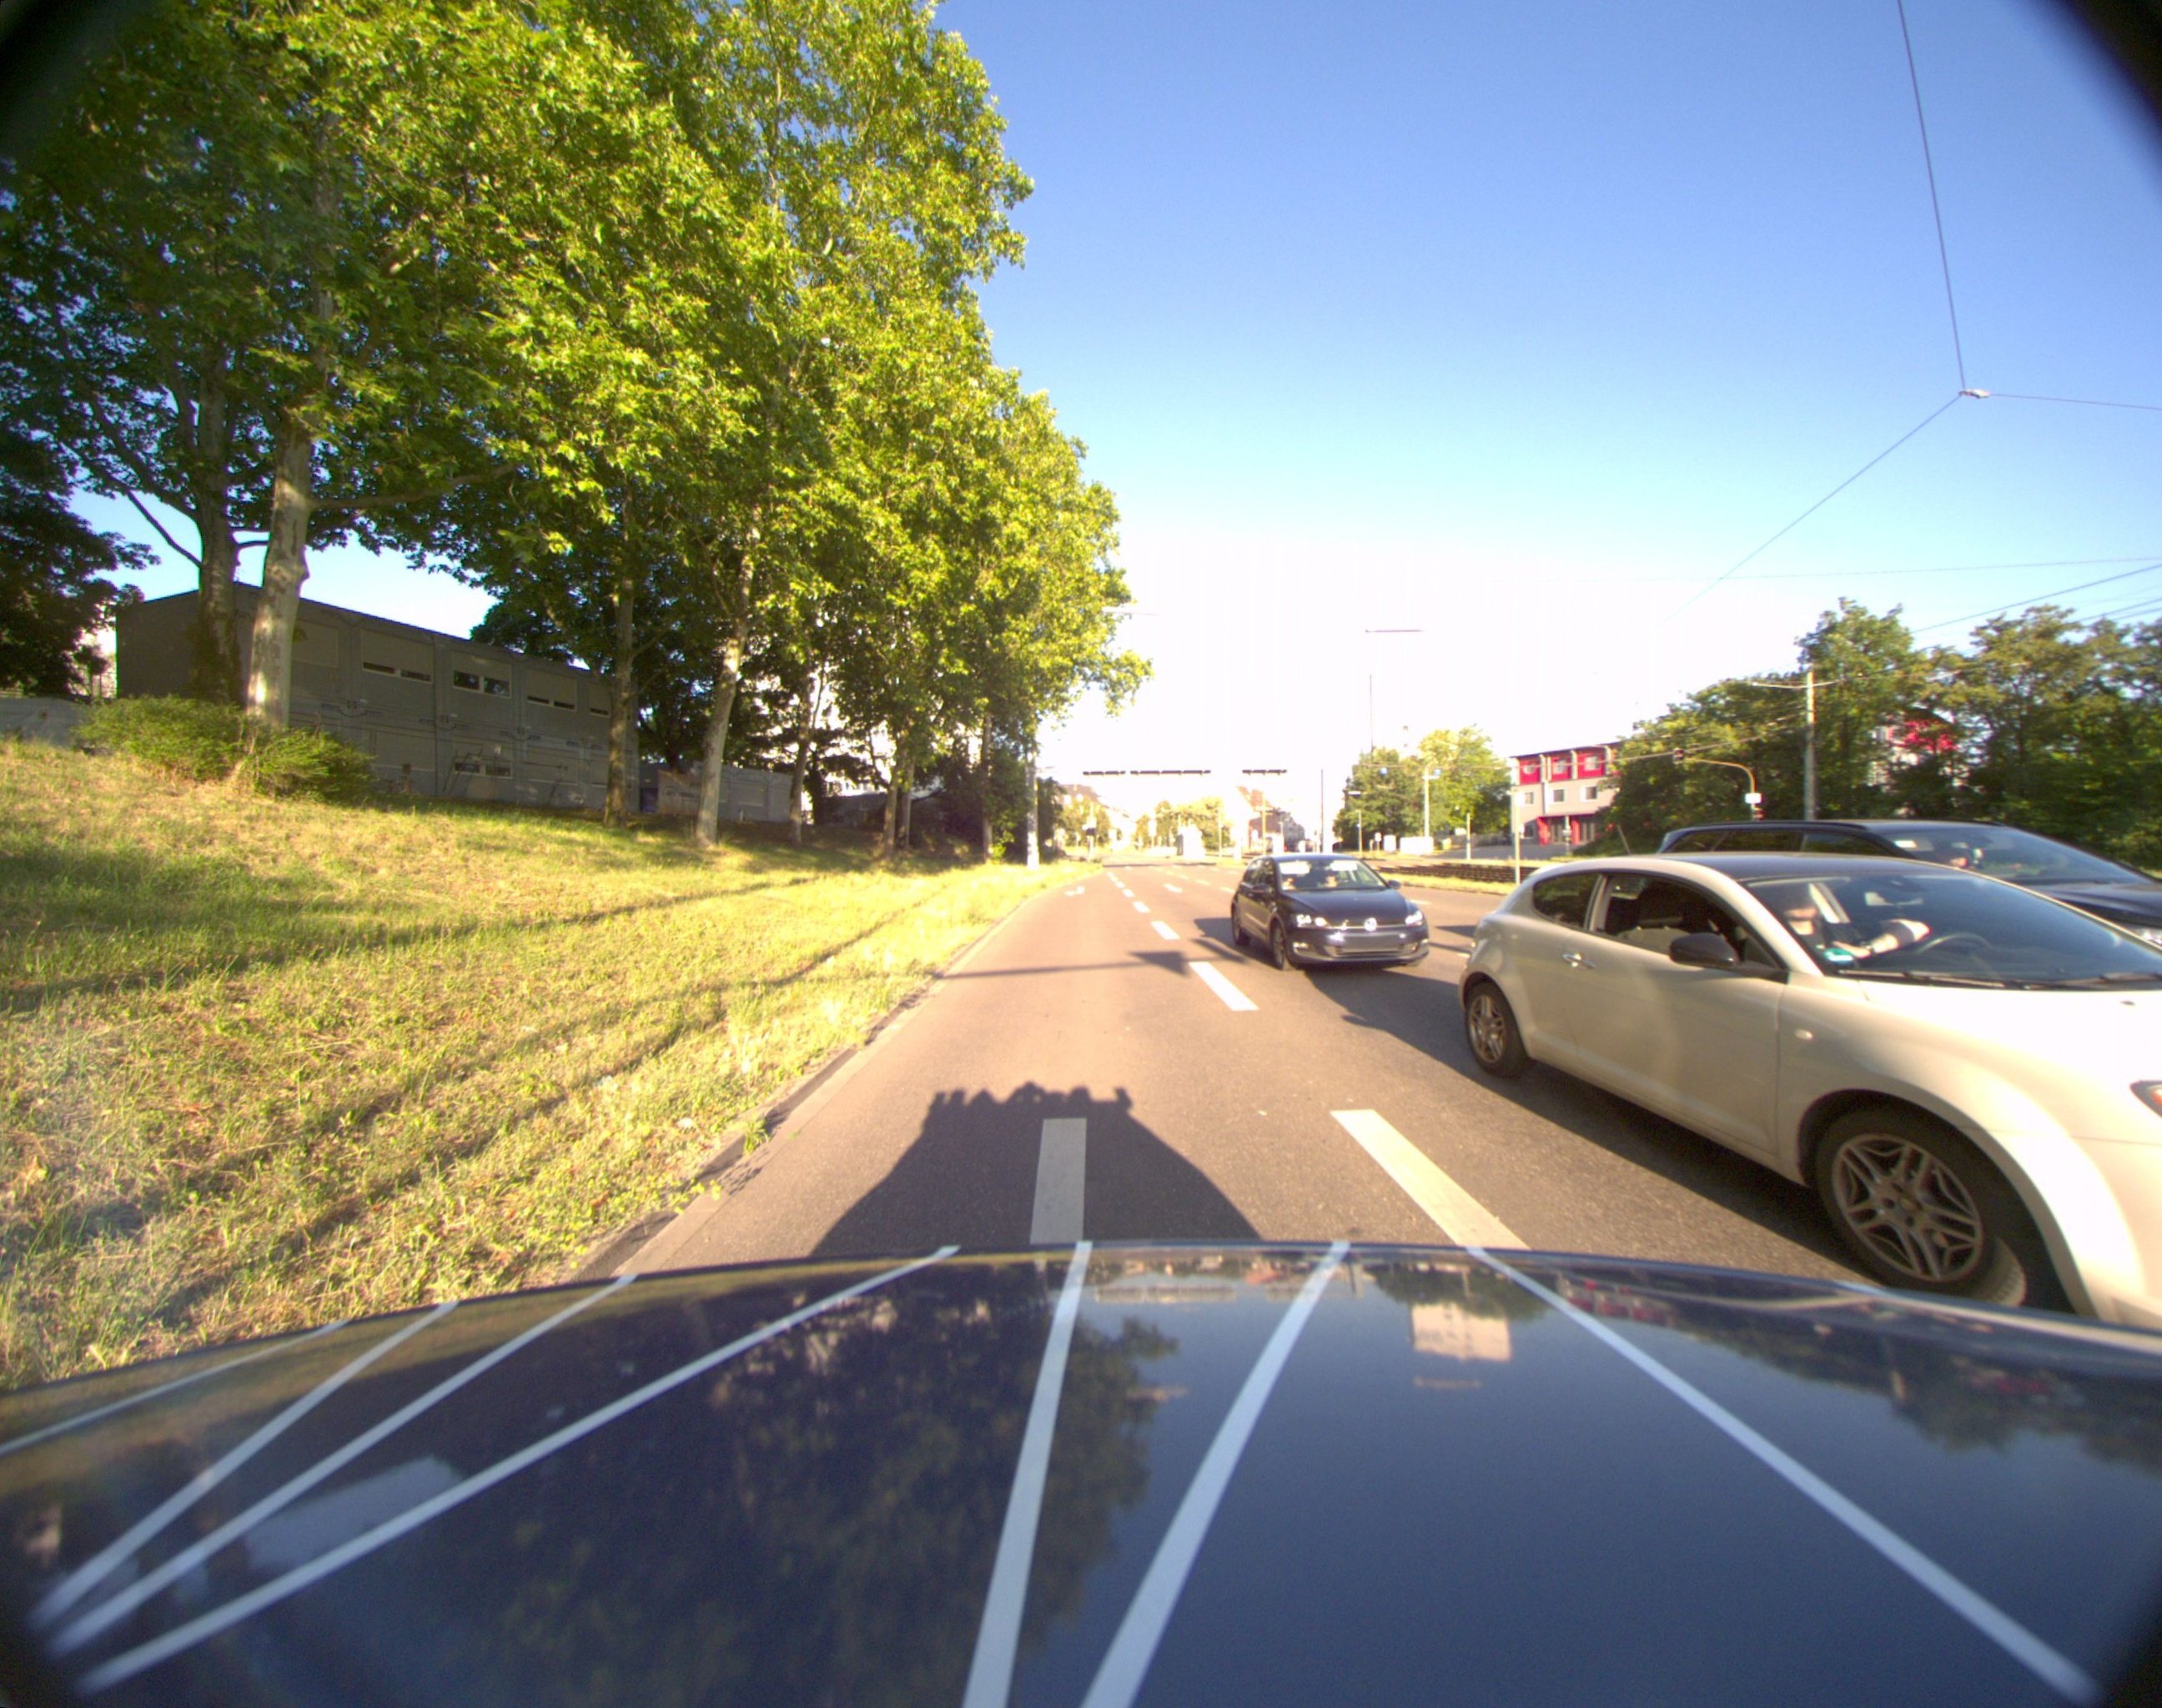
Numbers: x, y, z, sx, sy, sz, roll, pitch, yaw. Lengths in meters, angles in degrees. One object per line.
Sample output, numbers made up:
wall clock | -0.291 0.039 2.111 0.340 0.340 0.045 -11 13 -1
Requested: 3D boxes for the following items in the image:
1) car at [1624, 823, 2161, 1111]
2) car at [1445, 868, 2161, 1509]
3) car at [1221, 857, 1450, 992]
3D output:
car | 7.224 0.607 6.560 1.920 1.639 4.602 -1 0 2
car | 3.419 0.843 3.392 1.665 1.422 3.923 -2 0 -1
car | 3.199 0.790 10.437 1.782 1.422 3.923 -2 0 -1
